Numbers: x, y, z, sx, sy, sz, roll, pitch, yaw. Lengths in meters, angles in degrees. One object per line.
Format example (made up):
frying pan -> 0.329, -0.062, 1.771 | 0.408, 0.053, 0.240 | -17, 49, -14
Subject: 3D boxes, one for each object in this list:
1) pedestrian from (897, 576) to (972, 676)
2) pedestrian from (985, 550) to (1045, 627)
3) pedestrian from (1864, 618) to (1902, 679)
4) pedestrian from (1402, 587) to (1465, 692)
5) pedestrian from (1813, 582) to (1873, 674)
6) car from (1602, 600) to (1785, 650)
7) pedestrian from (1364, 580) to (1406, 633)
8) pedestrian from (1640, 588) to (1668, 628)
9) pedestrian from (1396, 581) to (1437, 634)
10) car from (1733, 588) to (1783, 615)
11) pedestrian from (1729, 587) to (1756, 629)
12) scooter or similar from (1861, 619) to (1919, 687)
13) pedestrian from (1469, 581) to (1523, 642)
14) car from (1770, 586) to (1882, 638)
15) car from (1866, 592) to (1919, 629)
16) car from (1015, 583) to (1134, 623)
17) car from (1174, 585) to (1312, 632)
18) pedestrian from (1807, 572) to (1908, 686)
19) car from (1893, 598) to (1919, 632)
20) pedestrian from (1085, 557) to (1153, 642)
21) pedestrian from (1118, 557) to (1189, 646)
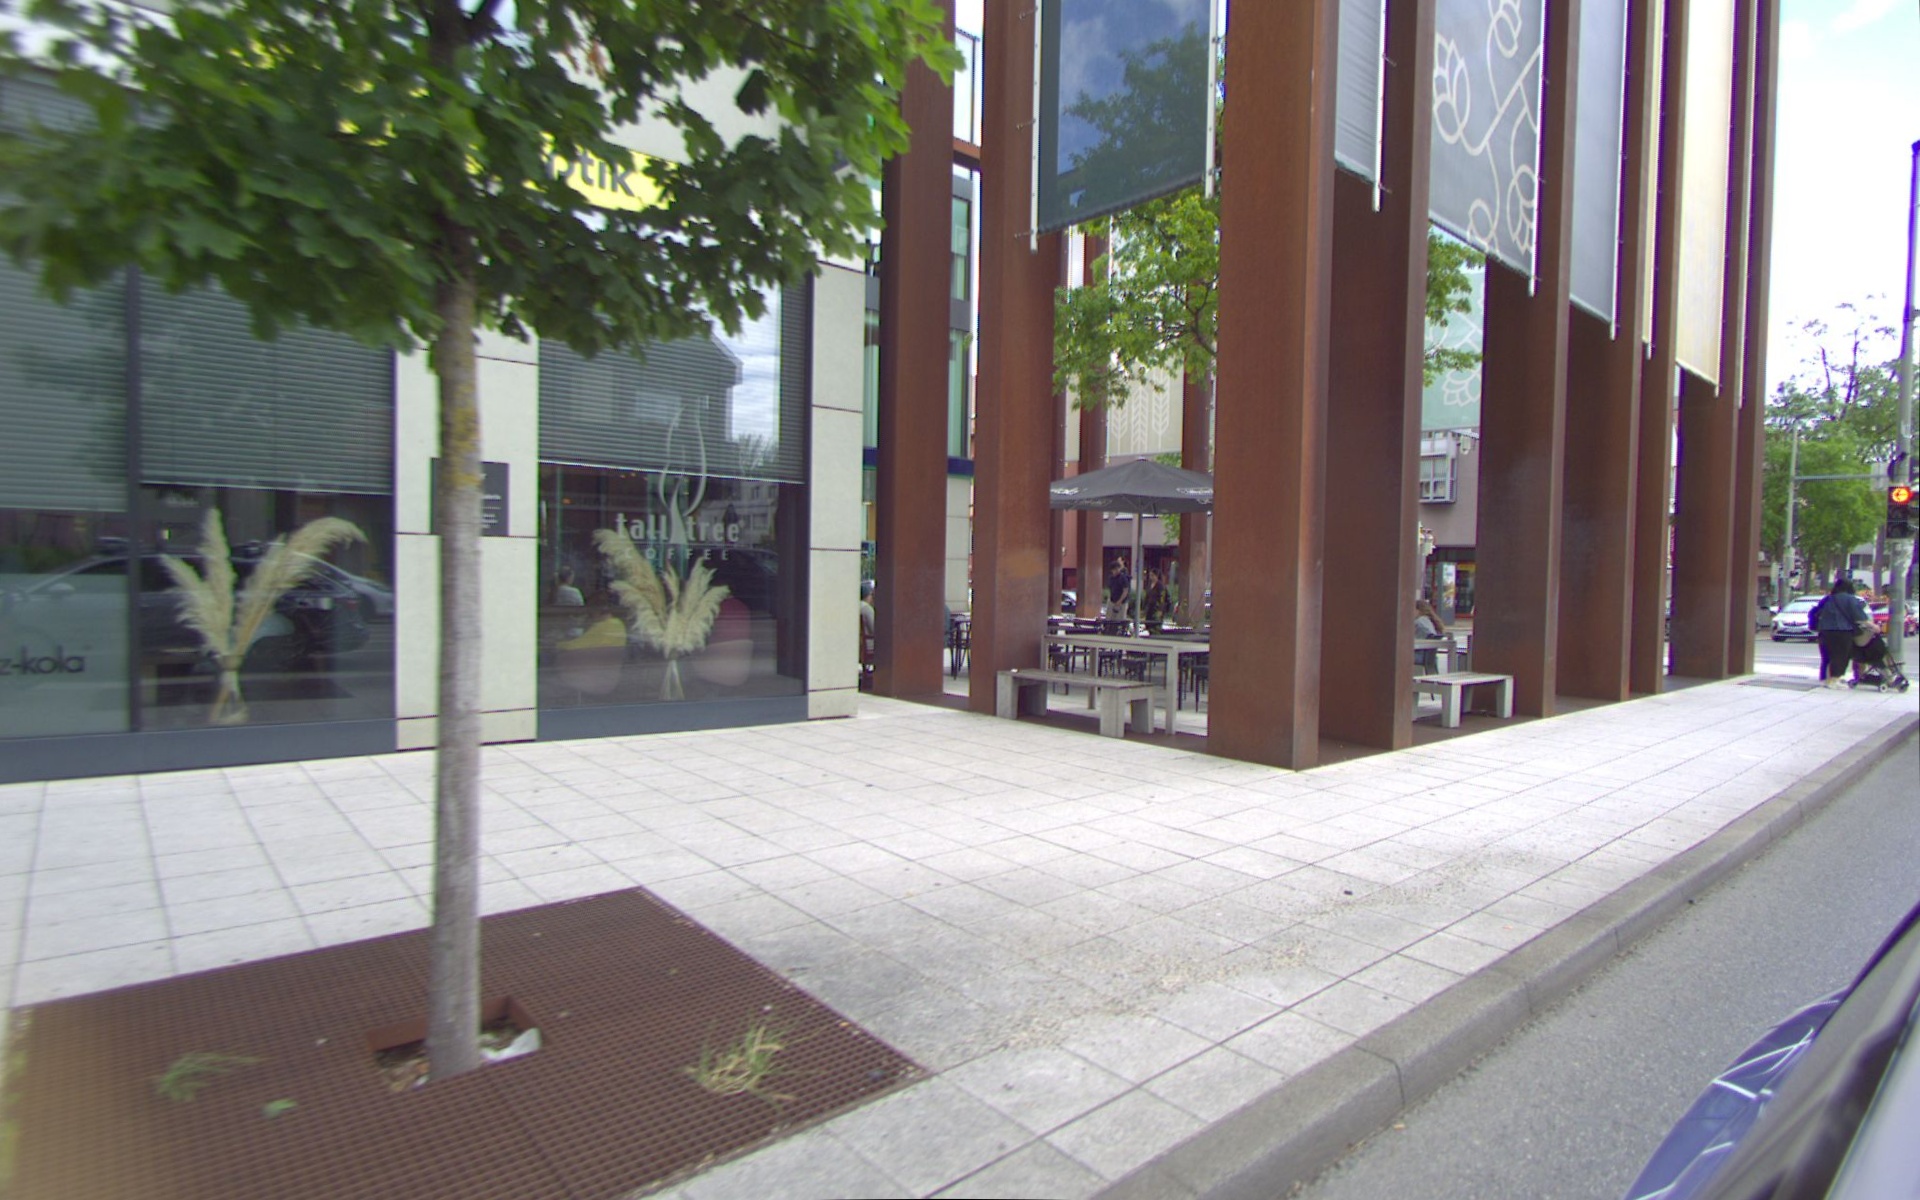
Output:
pedestrian -> -0.327, 0.316, 12.930 | 0.782, 1.223, 0.516 | 1, 1, -43
pedestrian -> 1.319, -0.279, 24.274 | 1.102, 1.789, 0.879 | 0, 2, -44
pedestrian -> 14.529, 0.755, 15.931 | 0.446, 0.935, 0.362 | 1, 1, -39
pedestrian -> 5.769, 0.468, 12.332 | 0.595, 1.235, 0.449 | 0, 1, -38
pedestrian -> 14.239, 0.438, 16.324 | 0.572, 1.438, 0.603 | 1, 1, -38
car -> 24.909, 0.825, 34.484 | 4.773, 1.629, 1.856 | 0, 0, 3
pedestrian -> 13.428, 0.189, 31.964 | 1.041, 1.604, 0.831 | 0, 1, -43
pedestrian -> 29.629, 0.347, 43.200 | 0.938, 1.646, 0.742 | 0, 2, -44
pedestrian -> 14.114, 0.226, 31.273 | 0.952, 1.578, 0.831 | 0, 1, -42
car -> 52.950, 0.073, 67.111 | 4.676, 1.566, 1.996 | -1, 4, -44
pedestrian -> 31.207, 0.298, 40.355 | 0.938, 1.647, 0.742 | 0, 0, -44
scooter or similar -> 14.221, 0.789, 15.294 | 0.608, 0.973, 0.636 | 1, 1, -7
pedestrian -> 15.833, 0.310, 29.902 | 1.091, 1.736, 1.058 | 0, 2, -42
car -> 30.395, 0.382, 35.491 | 4.294, 1.722, 1.746 | 0, 0, -32
car -> 39.382, 0.422, 42.455 | 3.578, 1.466, 1.629 | 0, 0, -41
car -> 4.360, 0.089, 39.108 | 1.769, 1.421, 4.542 | 0, 1, -41
car -> 9.501, 0.246, 34.202 | 1.770, 1.421, 4.177 | 0, 1, -43
pedestrian -> 13.553, 0.416, 15.311 | 0.666, 1.667, 0.874 | 1, 1, -6
car -> 44.678, 0.664, 46.929 | 3.932, 1.549, 1.799 | 0, 0, -43
pedestrian -> 3.321, -0.021, 21.068 | 1.102, 1.702, 0.879 | 0, 2, -44
pedestrian -> 3.856, 0.012, 20.146 | 1.102, 1.702, 0.879 | 0, 2, -44
